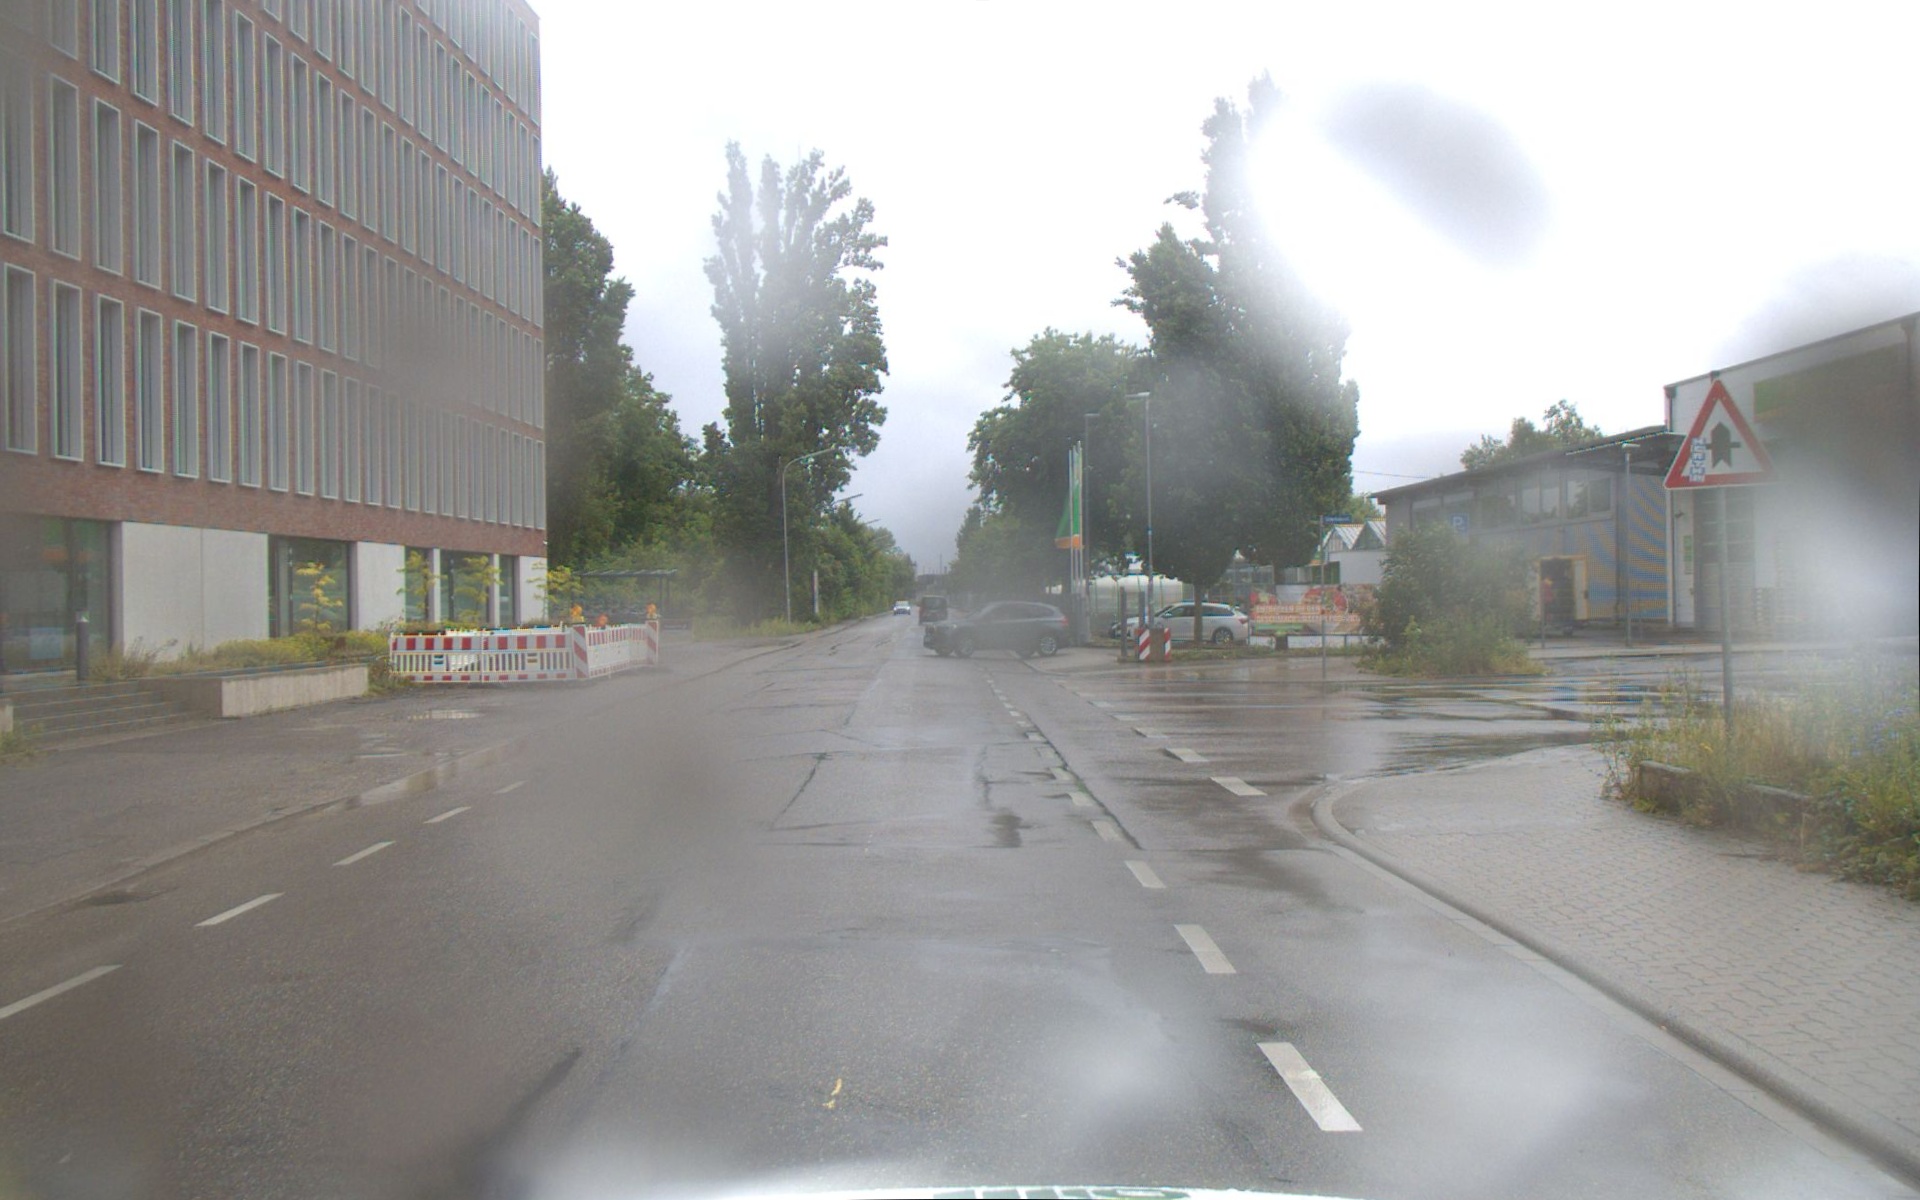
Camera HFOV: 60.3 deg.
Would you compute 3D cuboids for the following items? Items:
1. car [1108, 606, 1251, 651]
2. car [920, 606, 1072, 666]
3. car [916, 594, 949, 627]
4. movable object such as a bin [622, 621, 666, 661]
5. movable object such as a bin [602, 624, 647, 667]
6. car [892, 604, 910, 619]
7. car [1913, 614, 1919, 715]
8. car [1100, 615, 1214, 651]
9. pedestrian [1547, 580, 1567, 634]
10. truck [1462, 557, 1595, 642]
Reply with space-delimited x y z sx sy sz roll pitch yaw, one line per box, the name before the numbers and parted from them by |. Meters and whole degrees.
car | 7.500 0.959 56.773 4.609 1.488 1.889 0 -1 -3
car | 1.047 1.031 48.297 4.075 1.596 1.755 -1 -1 -20
car | -1.755 0.697 102.800 1.953 1.944 4.199 -1 -1 -2
movable object such as a bin | -10.808 1.395 56.661 1.269 1.355 1.358 -1 -1 -2
movable object such as a bin | -10.589 1.435 52.306 1.271 1.331 1.446 -1 -1 -7
car | -6.268 1.222 175.774 1.698 1.475 4.380 -4 0 0
car | 10.013 0.681 12.924 4.140 1.425 1.886 -3 -2 -9
car | 7.073 1.168 59.608 3.859 1.278 1.618 0 -1 -3
pedestrian | 19.433 0.235 53.853 0.445 1.748 0.433 -2 -1 2
truck | 19.702 0.013 57.781 2.253 2.706 7.418 -2 -1 2
